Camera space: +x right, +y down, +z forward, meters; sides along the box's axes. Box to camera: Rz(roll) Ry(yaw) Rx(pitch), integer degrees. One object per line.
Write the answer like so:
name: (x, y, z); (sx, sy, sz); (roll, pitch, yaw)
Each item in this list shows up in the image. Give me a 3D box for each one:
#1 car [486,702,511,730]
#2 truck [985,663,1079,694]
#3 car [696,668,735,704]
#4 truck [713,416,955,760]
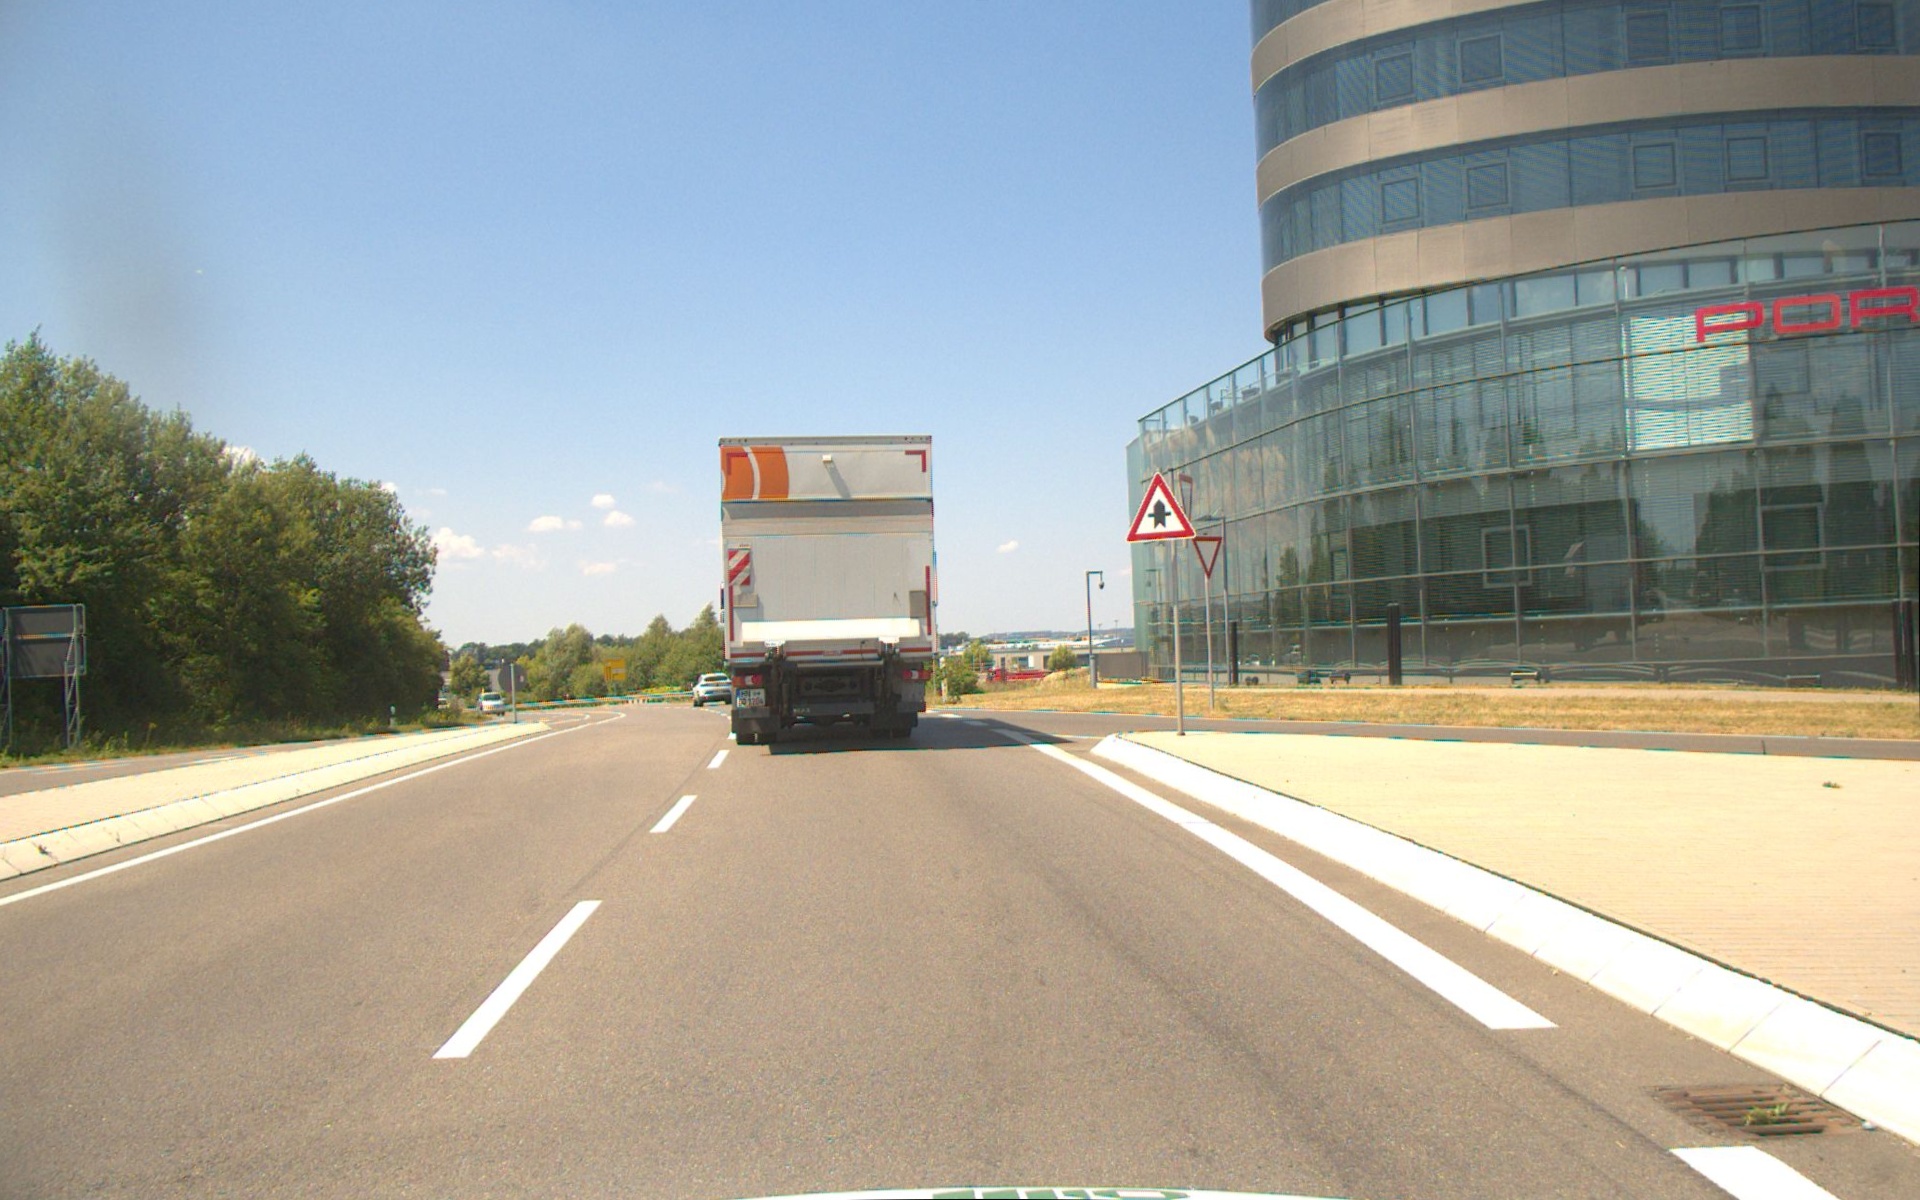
car: (-37.706, 9.442, 135.109); (1.775, 2.005, 3.977); (0, -1, -19)
truck: (7.971, 8.662, 183.310); (10.146, 3.276, 2.458); (-1, -1, 19)
car: (-11.848, 4.155, 80.079); (1.769, 1.584, 3.990); (0, -1, -10)
truck: (-1.992, -0.087, 23.807); (2.717, 3.927, 9.355); (-1, -1, -7)
